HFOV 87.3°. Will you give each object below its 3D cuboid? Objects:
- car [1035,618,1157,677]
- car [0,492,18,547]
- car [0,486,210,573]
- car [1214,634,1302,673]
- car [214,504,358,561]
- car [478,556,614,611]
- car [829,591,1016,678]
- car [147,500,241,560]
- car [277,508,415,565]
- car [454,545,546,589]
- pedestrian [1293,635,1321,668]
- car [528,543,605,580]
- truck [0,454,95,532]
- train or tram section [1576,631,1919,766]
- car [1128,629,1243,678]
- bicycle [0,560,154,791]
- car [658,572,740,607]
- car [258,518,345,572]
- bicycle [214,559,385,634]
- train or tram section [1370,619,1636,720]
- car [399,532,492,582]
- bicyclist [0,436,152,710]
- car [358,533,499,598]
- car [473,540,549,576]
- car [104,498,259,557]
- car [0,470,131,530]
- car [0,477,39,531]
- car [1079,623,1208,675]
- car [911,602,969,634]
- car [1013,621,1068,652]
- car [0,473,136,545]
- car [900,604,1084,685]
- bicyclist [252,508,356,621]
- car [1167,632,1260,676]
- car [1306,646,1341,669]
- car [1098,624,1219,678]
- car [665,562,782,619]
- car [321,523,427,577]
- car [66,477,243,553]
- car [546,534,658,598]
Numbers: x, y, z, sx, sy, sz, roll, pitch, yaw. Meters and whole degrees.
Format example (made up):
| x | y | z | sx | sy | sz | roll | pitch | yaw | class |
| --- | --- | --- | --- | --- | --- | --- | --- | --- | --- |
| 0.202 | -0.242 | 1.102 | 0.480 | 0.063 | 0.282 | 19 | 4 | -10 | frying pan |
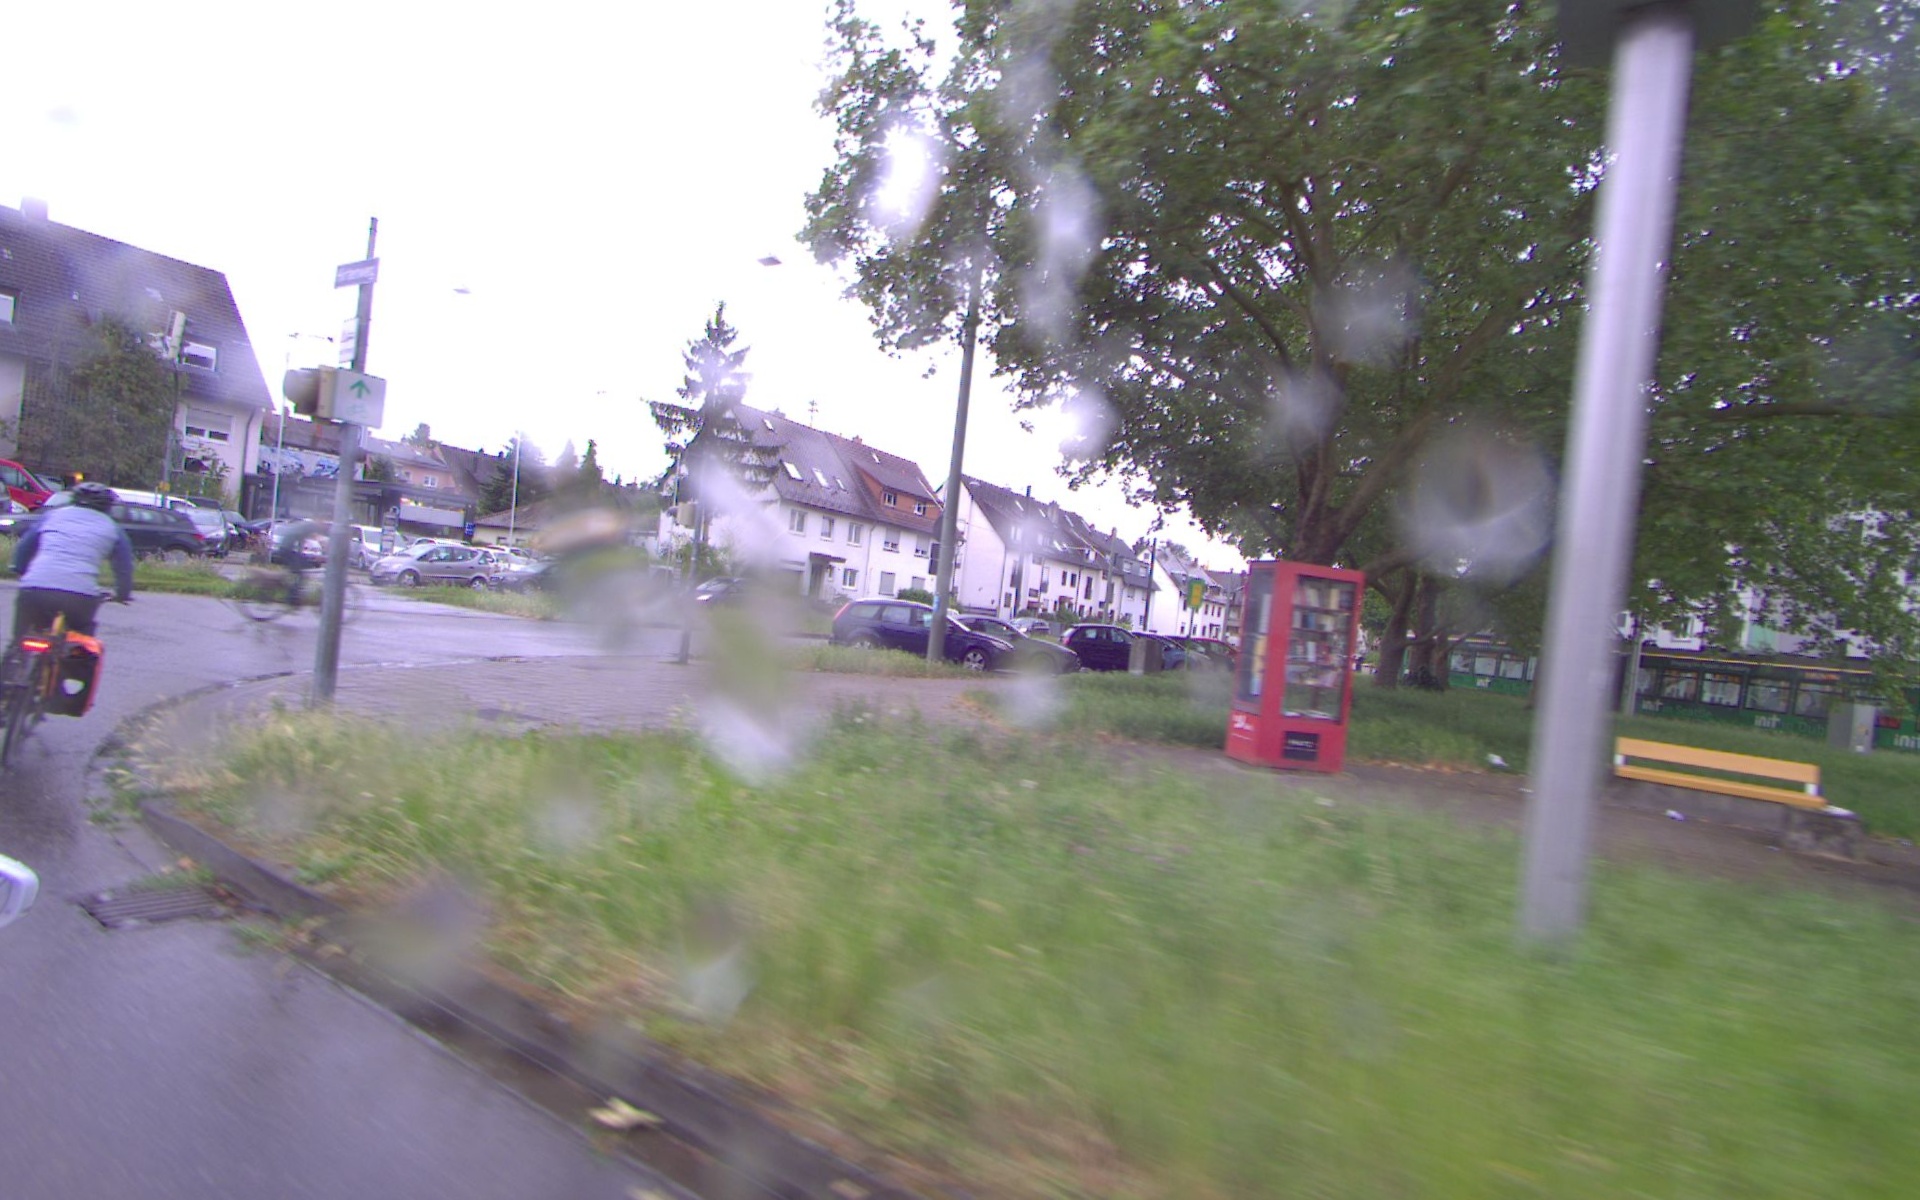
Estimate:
| x | y | z | sx | sy | sz | roll | pitch | yaw | class |
| --- | --- | --- | --- | --- | --- | --- | --- | --- | --- |
| 4.275 | 1.494 | 31.939 | 3.453 | 1.524 | 1.754 | 5 | -1 | -5 | car |
| -28.456 | -2.397 | 28.258 | 1.785 | 1.598 | 3.845 | 6 | 1 | -27 | car |
| -19.888 | -1.606 | 22.894 | 1.966 | 1.494 | 3.993 | 7 | 0 | 29 | car |
| 15.731 | 2.823 | 53.284 | 3.926 | 1.502 | 1.998 | 6 | 1 | -1 | car |
| -27.670 | -2.742 | 41.461 | 1.967 | 1.708 | 4.436 | 6 | -1 | 32 | car |
| -15.149 | -0.565 | 37.086 | 1.694 | 1.354 | 4.384 | 7 | -3 | 31 | car |
| -0.834 | 0.780 | 23.658 | 4.099 | 1.495 | 1.804 | 7 | 0 | 0 | car |
| -24.647 | -2.195 | 32.512 | 1.815 | 1.521 | 4.026 | 9 | -2 | -31 | car |
| -25.008 | -2.552 | 41.136 | 1.732 | 1.708 | 4.436 | 6 | -1 | 32 | car |
| -19.651 | -1.421 | 42.966 | 3.780 | 1.412 | 1.720 | 6 | -2 | 34 | car |
| 20.010 | 2.949 | 57.975 | 1.029 | 1.735 | 1.079 | 6 | 0 | -4 | pedestrian |
| -21.571 | -2.093 | 55.367 | 1.829 | 1.600 | 4.402 | 6 | -1 | 9 | car |
| -33.702 | -3.891 | 34.412 | 6.056 | 2.300 | 1.978 | 6 | 0 | -40 | truck |
| 30.313 | 3.489 | 37.512 | 2.672 | 3.632 | 14.701 | 8 | -1 | -13 | train or tram section |
| 8.914 | 2.105 | 39.994 | 4.046 | 1.498 | 1.866 | 5 | 0 | -1 | car |
| -5.402 | 0.378 | 5.963 | 0.750 | 1.087 | 1.902 | 4 | 2 | -44 | bicycle |
| -13.727 | -0.539 | 53.161 | 1.966 | 1.586 | 3.882 | 7 | 3 | 30 | car |
| -23.217 | -1.950 | 35.427 | 1.823 | 1.521 | 4.010 | 9 | -2 | -42 | car |
| -10.055 | -0.031 | 15.398 | 0.809 | 0.923 | 1.984 | 6 | -2 | 28 | bicycle |
| 27.081 | 3.246 | 51.852 | 2.672 | 3.632 | 14.701 | 8 | -1 | -13 | train or tram section |
| -20.946 | -1.758 | 40.942 | 3.559 | 1.591 | 1.720 | 7 | -2 | 34 | car |
| -5.403 | -0.158 | 6.006 | 0.748 | 1.505 | 0.835 | 4 | 2 | -44 | bicyclist |
| -17.454 | -1.096 | 33.205 | 1.694 | 1.521 | 3.640 | 7 | -2 | 31 | car |
| -25.885 | -2.396 | 58.149 | 1.759 | 1.600 | 4.449 | 6 | -1 | 9 | car |
| -31.128 | -2.873 | 40.359 | 1.967 | 1.708 | 4.436 | 6 | -1 | 32 | car |
| -34.959 | -3.862 | 38.560 | 1.967 | 1.708 | 4.436 | 6 | -1 | 32 | car |
| -32.164 | -3.269 | 32.074 | 3.948 | 1.617 | 1.978 | 6 | -1 | -40 | car |
| 6.290 | 1.673 | 34.722 | 3.928 | 1.519 | 1.823 | 4 | -1 | -6 | car |
| -1.155 | 1.087 | 61.050 | 1.579 | 1.439 | 3.940 | 7 | -2 | 31 | car |
| 5.106 | 2.342 | 63.645 | 1.713 | 1.503 | 3.995 | 7 | -2 | 32 | car |
| -26.519 | -2.627 | 30.067 | 1.976 | 1.738 | 3.973 | 6 | 0 | -27 | car |
| 0.828 | 1.116 | 26.108 | 4.464 | 1.495 | 1.804 | 7 | 0 | 2 | car |
| -10.004 | -0.536 | 15.356 | 0.819 | 1.577 | 0.913 | 6 | -1 | 28 | bicyclist |
| 10.763 | 2.285 | 42.892 | 3.530 | 1.498 | 1.638 | 5 | 0 | 4 | car |
| 29.248 | 4.649 | 80.966 | 1.928 | 1.571 | 3.995 | 5 | -2 | 29 | car |
| 7.336 | 1.891 | 37.395 | 3.928 | 1.571 | 1.961 | 6 | -2 | -5 | car |
| -9.526 | -0.353 | 40.886 | 1.965 | 1.623 | 4.571 | 7 | -2 | 28 | car |
| -22.170 | -1.894 | 38.022 | 3.808 | 1.599 | 1.803 | 7 | 1 | 32 | car |
| -28.577 | -2.969 | 35.852 | 1.967 | 2.038 | 4.436 | 6 | -1 | 32 | car |
| -17.451 | -1.651 | 48.967 | 5.062 | 2.434 | 2.150 | 7 | -2 | 30 | car |
